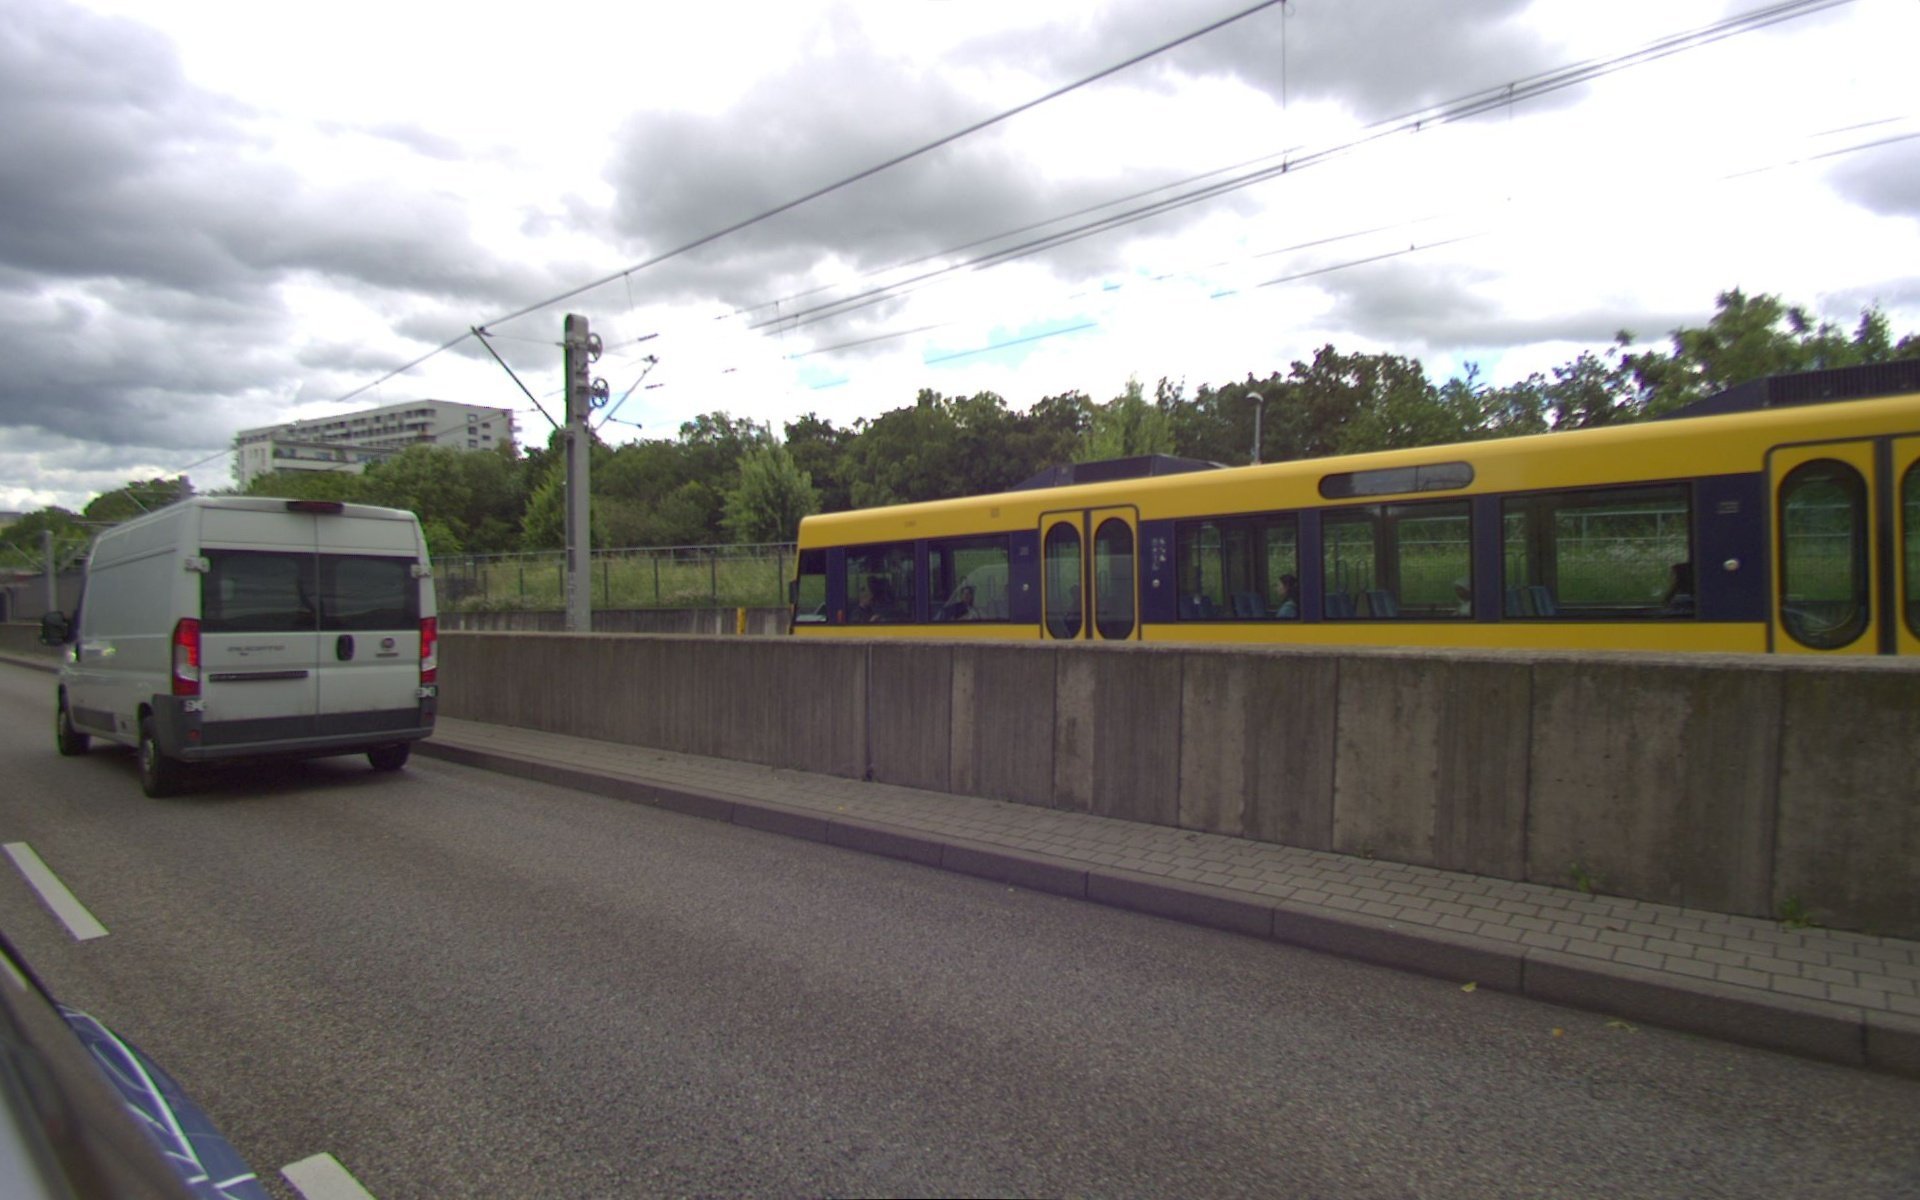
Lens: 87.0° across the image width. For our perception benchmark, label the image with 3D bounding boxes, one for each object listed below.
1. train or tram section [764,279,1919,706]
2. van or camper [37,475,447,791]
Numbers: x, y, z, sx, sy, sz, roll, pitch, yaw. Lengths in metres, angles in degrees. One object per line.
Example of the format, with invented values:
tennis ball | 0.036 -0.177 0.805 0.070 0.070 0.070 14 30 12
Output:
train or tram section | 4.945 -0.785 11.079 18.902 3.140 2.783 0 0 41
van or camper | -7.712 0.289 10.515 6.133 2.414 2.061 -1 -1 41
